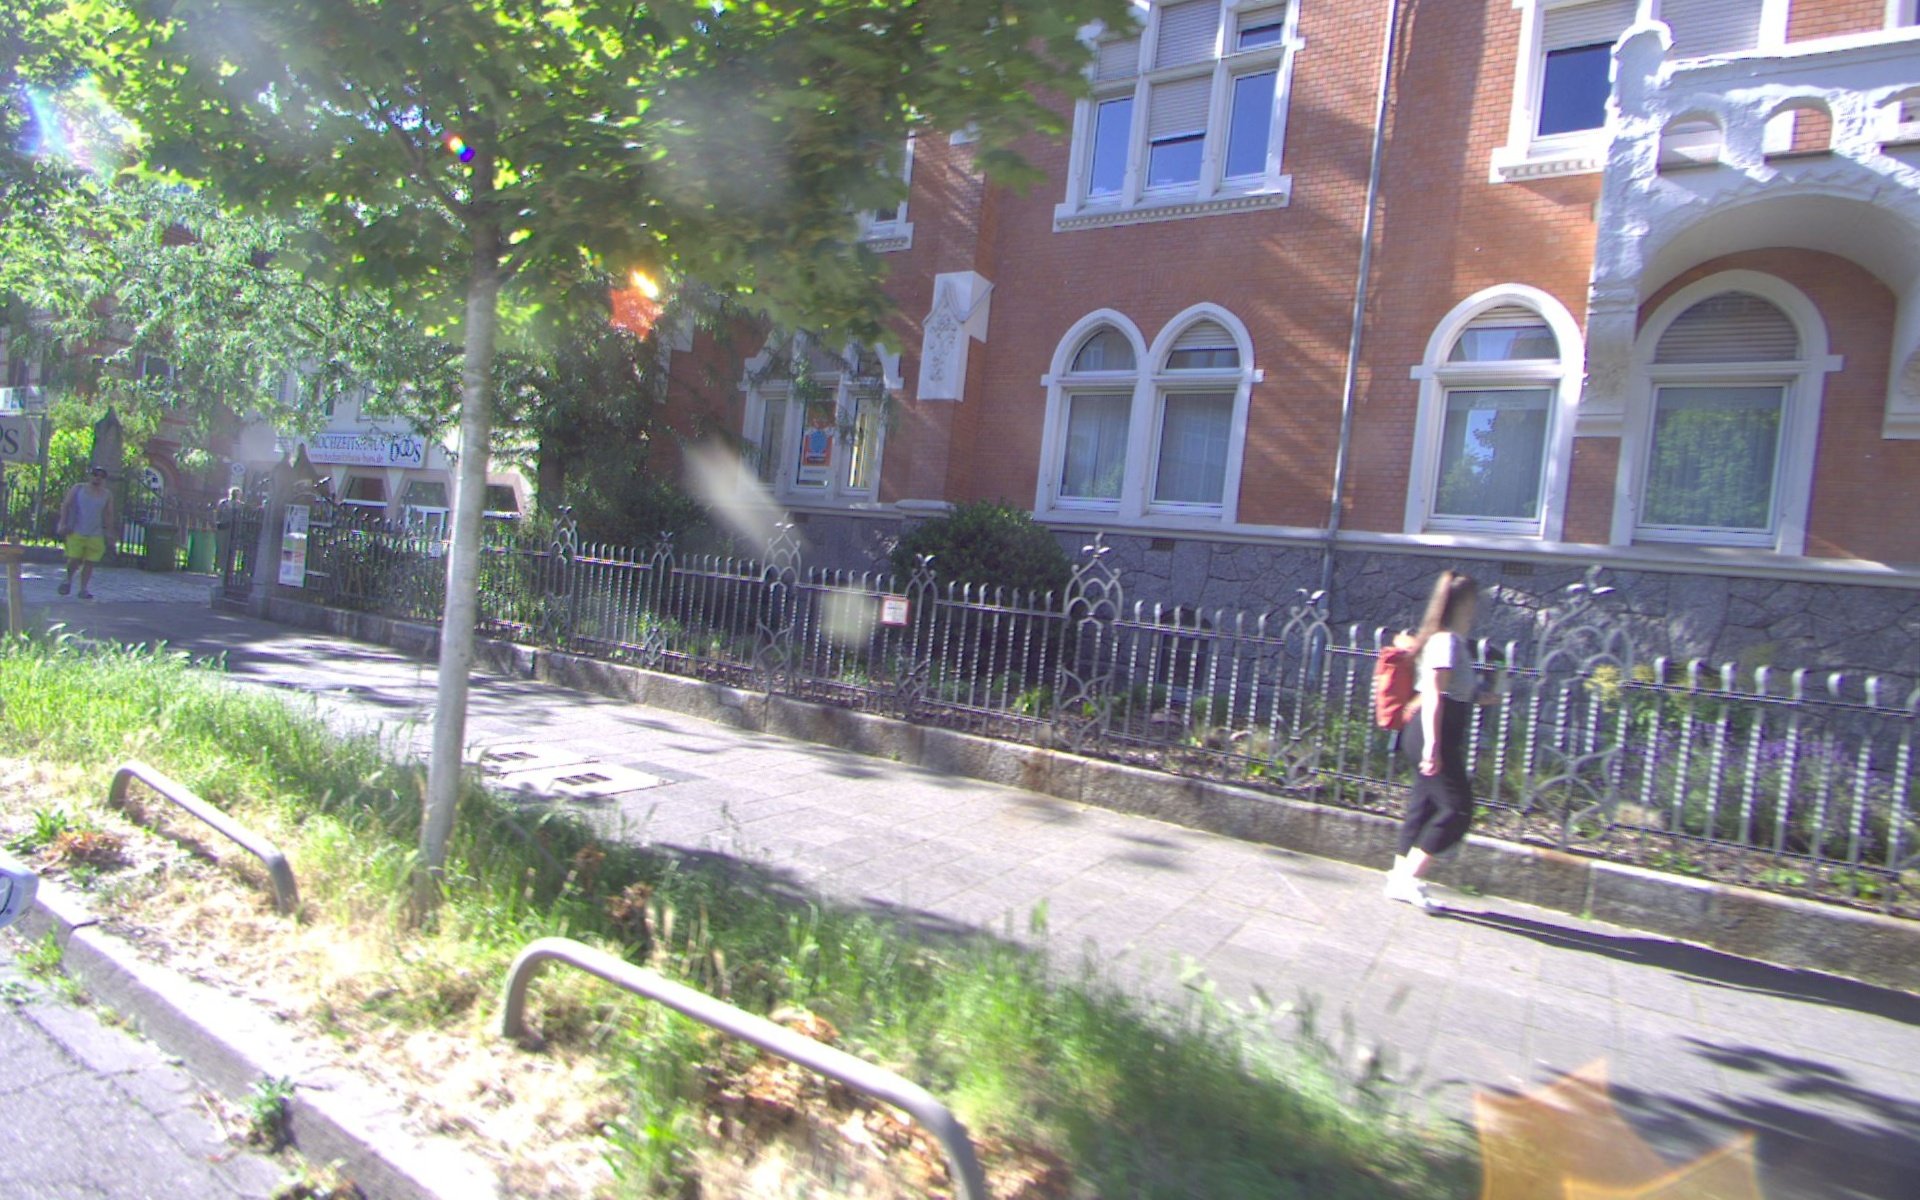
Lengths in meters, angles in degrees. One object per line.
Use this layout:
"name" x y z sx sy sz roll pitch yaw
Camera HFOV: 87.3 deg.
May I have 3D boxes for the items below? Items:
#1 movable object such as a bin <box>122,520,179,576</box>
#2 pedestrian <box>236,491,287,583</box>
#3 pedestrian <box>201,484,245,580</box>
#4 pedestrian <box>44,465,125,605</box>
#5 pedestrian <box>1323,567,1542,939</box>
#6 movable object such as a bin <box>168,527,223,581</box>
"movable object such as a bin" -15.409 -0.983 19.156 0.656 0.978 0.625 7 3 31
"pedestrian" -13.739 -1.228 19.802 0.506 1.731 0.539 7 2 24
"pedestrian" -14.401 -1.323 19.657 0.537 1.801 0.528 5 2 -31
"pedestrian" -11.919 -0.879 13.686 0.744 1.812 0.800 2 4 -45
"pedestrian" 2.419 0.712 5.139 0.806 1.681 0.694 6 3 31
"movable object such as a bin" -15.007 -0.905 19.751 0.656 0.978 0.625 7 3 31
